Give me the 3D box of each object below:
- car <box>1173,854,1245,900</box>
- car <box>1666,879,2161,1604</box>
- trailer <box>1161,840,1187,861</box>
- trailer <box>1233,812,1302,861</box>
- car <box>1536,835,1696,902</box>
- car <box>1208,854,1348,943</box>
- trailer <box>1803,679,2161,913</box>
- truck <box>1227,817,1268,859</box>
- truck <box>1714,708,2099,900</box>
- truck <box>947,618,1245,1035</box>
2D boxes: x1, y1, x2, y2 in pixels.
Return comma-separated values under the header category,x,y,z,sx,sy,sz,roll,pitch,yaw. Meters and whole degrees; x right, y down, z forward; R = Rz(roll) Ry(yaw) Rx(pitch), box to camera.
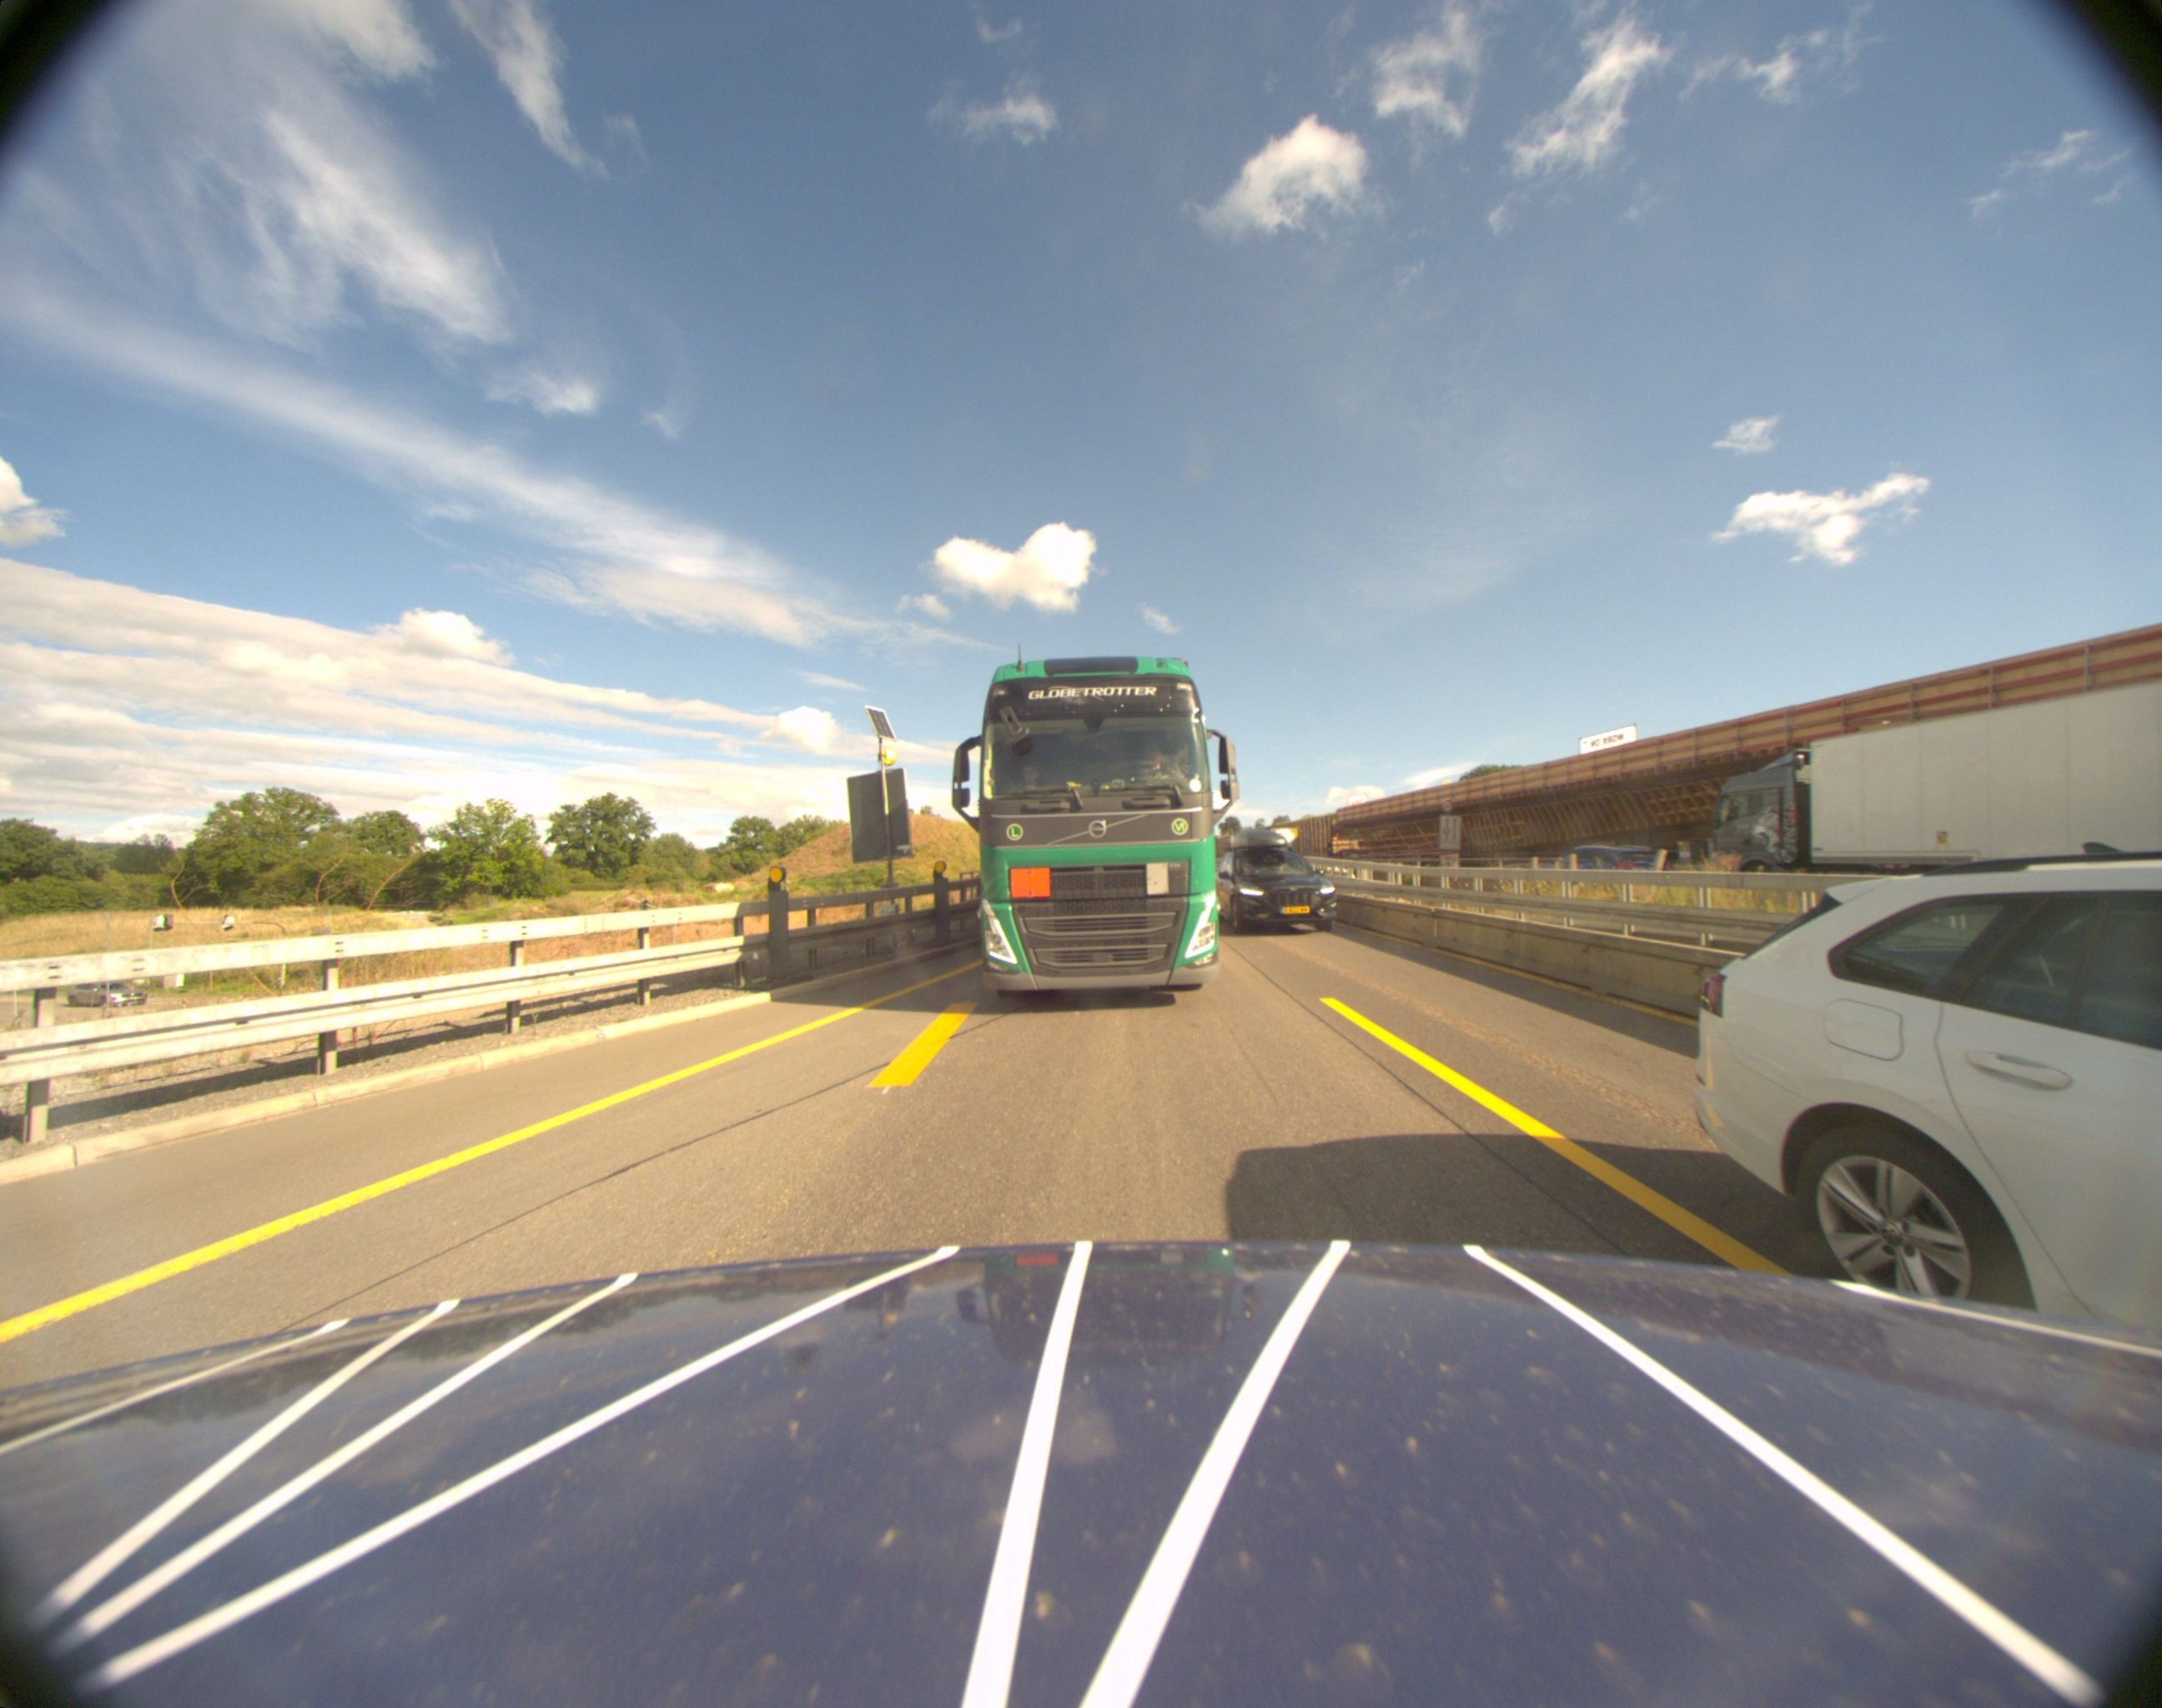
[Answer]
category,x,y,z,sx,sy,sz,roll,pitch,yaw
car,4.665,0.786,28.288,1.949,1.422,4.504,-2,1,1
car,3.177,0.883,0.803,1.774,1.482,4.516,0,1,3
trailer,17.115,-0.741,140.343,2.870,3.645,13.526,-2,1,-1
trailer,17.531,-1.588,72.587,2.695,4.132,13.807,-2,1,-2
car,15.395,0.357,22.175,1.998,1.716,4.123,-2,1,5
car,3.847,0.790,15.637,1.804,1.533,4.384,-1,0,1
trailer,19.028,-0.983,11.751,2.827,3.819,13.803,-2,1,1
truck,17.345,-1.675,79.396,2.719,4.114,5.968,-2,1,-2
truck,19.155,-1.038,18.335,2.783,3.766,6.018,-2,1,1
truck,0.092,-0.307,12.295,2.664,3.825,10.315,-2,1,-1
